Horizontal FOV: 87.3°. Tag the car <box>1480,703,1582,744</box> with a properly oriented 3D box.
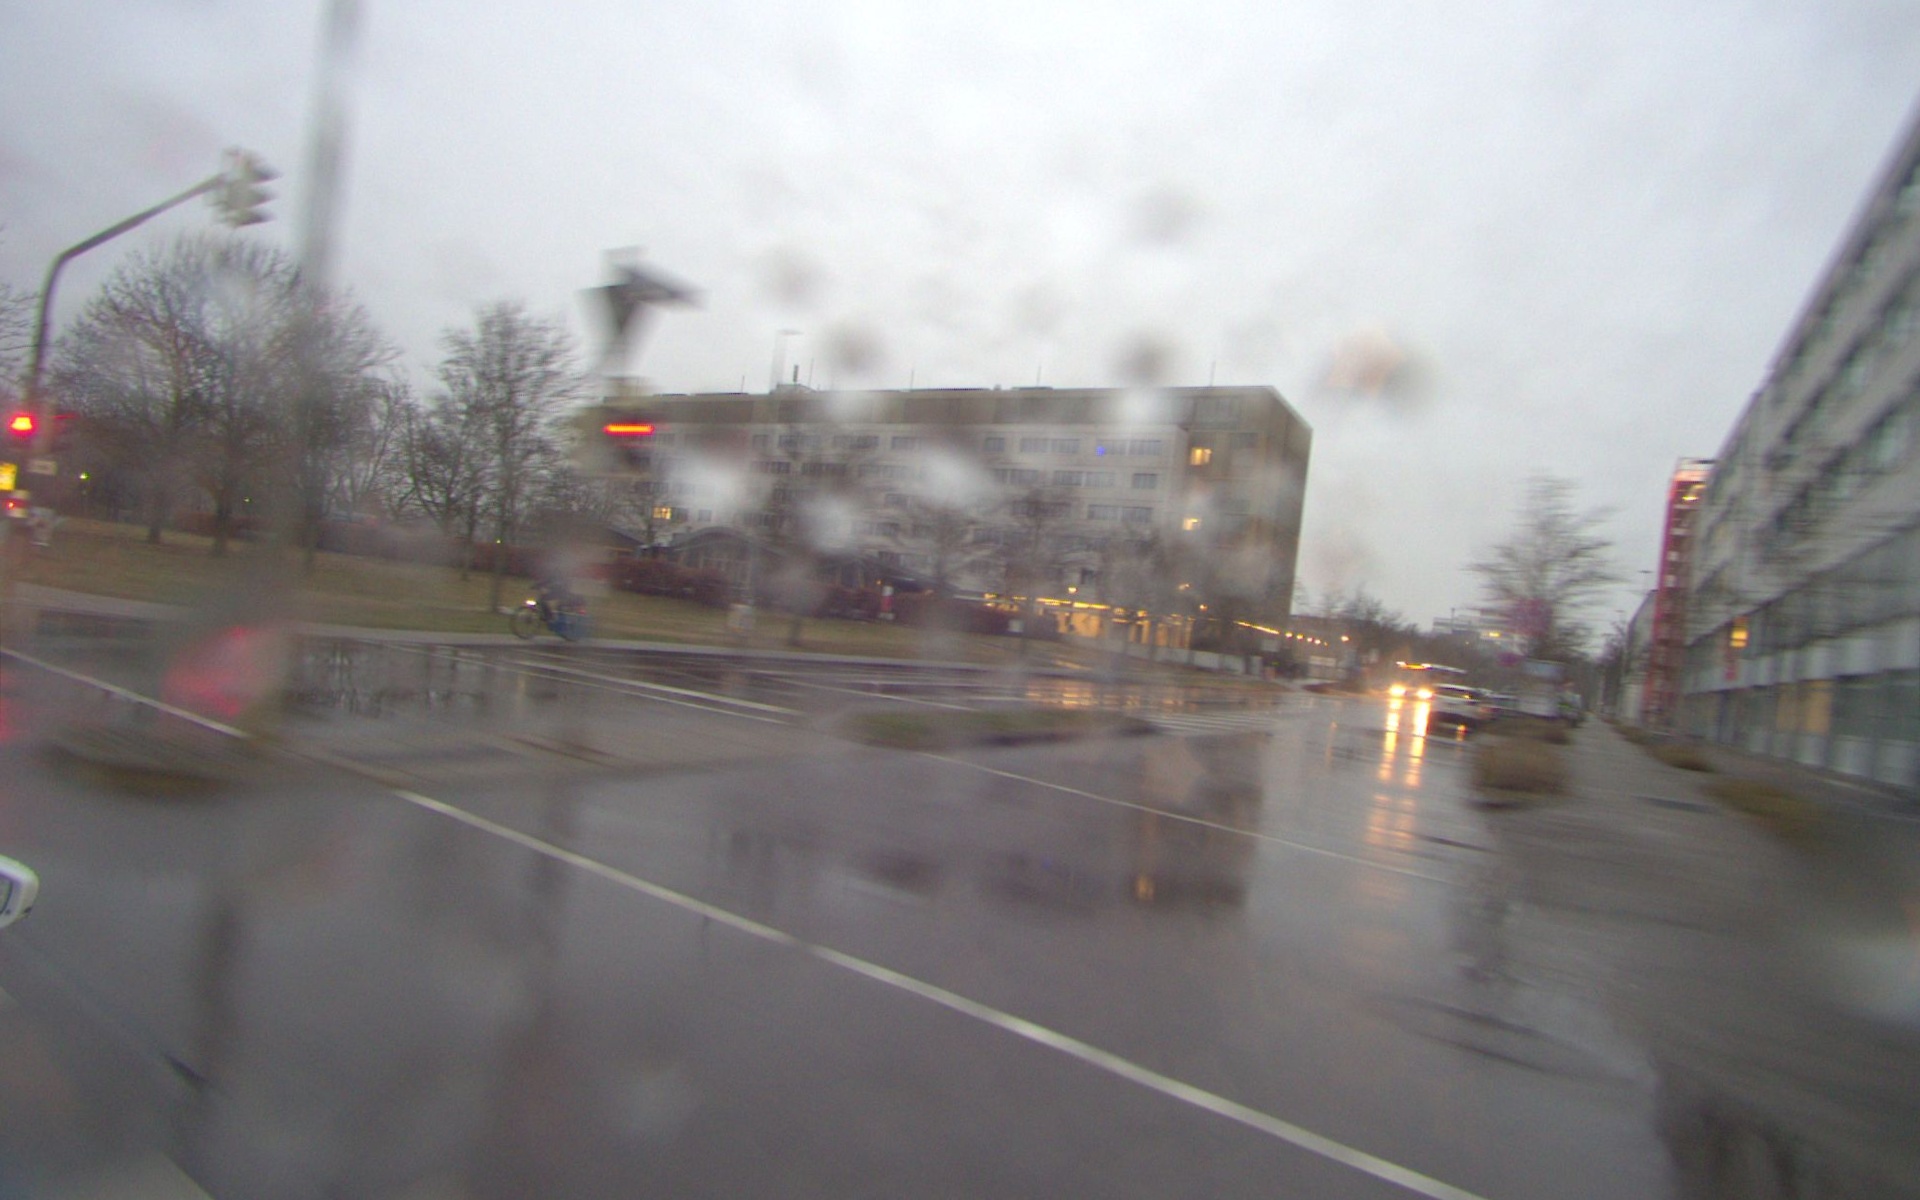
[{"bbox_3d":[32.178,6.961,56.751,4.738,1.573,1.770,5,-3,35],"label":"car"}]

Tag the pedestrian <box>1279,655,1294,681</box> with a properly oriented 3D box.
[{"bbox_3d":[26.456,5.501,81.443,0.790,2.036,0.639,5,-3,38],"label":"pedestrian"}]

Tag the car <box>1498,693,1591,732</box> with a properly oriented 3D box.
[{"bbox_3d":[30.475,5.885,52.494,4.067,1.437,1.771,5,-3,33],"label":"car"}]

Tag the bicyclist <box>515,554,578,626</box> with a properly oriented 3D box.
[{"bbox_3d":[-9.168,-0.220,22.320,0.912,1.446,0.752,5,-3,35],"label":"bicyclist"}]

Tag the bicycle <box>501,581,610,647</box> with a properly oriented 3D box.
[{"bbox_3d":[-9.081,0.339,22.653,1.022,1.230,1.967,8,0,28],"label":"bicycle"}]

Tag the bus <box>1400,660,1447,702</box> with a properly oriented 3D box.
[{"bbox_3d":[38.229,6.719,82.800,2.260,2.742,8.139,6,-4,32],"label":"bus"}]

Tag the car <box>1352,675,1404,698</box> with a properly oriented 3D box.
[{"bbox_3d":[37.527,7.788,90.369,3.940,1.495,1.831,5,-4,37],"label":"car"}]

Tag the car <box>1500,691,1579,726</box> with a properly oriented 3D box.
[{"bbox_3d":[35.693,6.684,62.014,4.057,1.545,1.605,5,-3,33],"label":"car"}]

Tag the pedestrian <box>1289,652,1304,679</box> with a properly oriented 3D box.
[{"bbox_3d":[26.946,5.230,80.497,0.802,2.036,0.750,6,-2,33],"label":"pedestrian"}]

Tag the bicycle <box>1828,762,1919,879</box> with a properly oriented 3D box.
[{"bbox_3d":[10.651,2.473,10.817,1.844,1.118,0.471,6,0,32],"label":"bicycle"}]

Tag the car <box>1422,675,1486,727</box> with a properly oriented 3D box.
[{"bbox_3d":[18.721,3.868,38.247,1.964,1.654,3.281,6,-3,25],"label":"car"}]
